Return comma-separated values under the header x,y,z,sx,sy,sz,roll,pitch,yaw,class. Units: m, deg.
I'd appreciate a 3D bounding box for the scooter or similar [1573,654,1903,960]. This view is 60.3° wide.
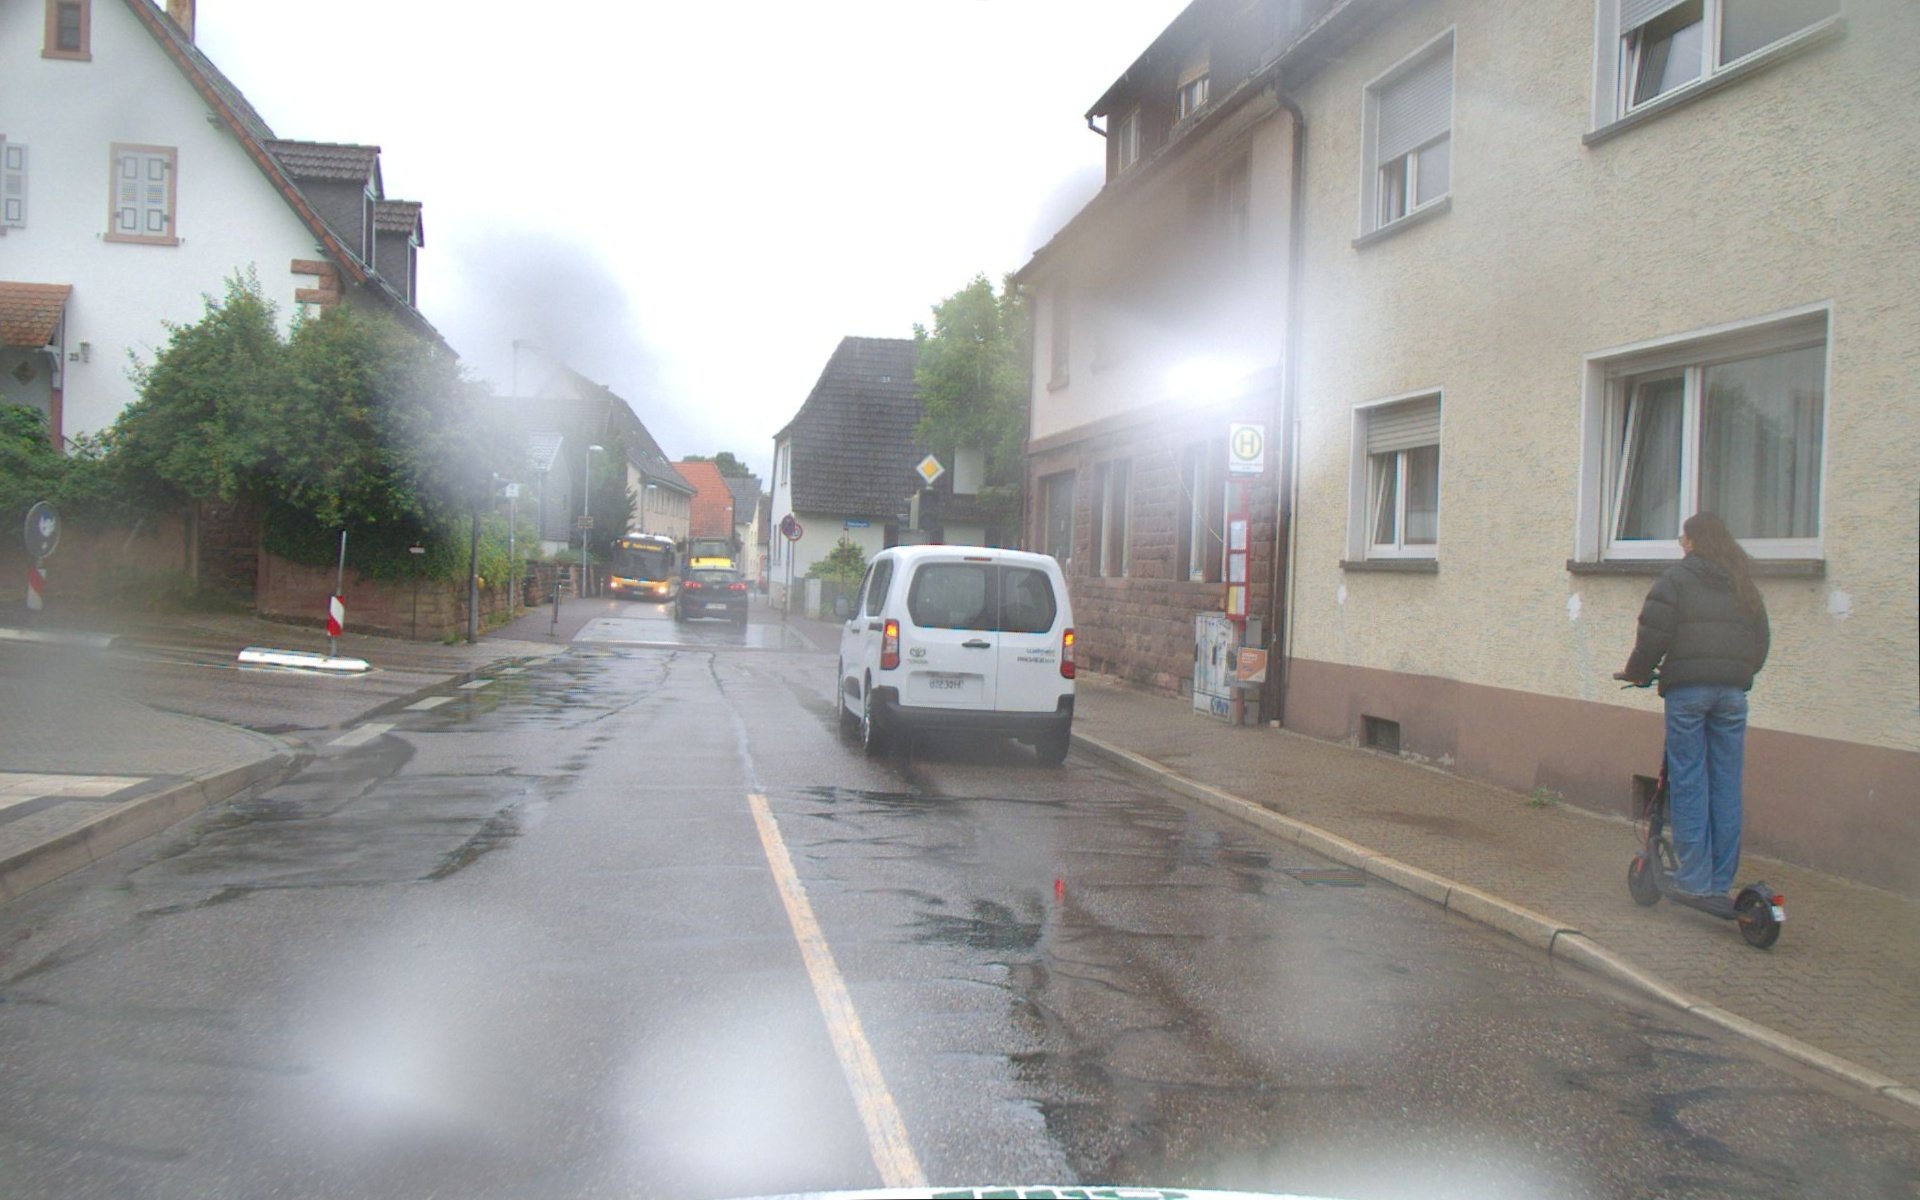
x,y,z,sx,sy,sz,roll,pitch,yaw,class
3.497,0.889,7.568,0.609,1.146,1.399,2,3,-11,scooter or similar

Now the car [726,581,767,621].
x,y,z,sx,sy,sz,roll,pitch,yaw,class
-10.890,0.054,84.631,1.859,1.982,3.996,0,0,-5,car

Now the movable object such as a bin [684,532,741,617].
x,y,z,sx,sy,sz,roll,pitch,yaw,class
-8.464,-0.885,56.459,1.695,2.699,3.966,3,0,-9,movable object such as a bin

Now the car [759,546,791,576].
x,y,z,sx,sy,sz,roll,pitch,yaw,class
-12.009,-2.518,107.487,1.814,1.825,3.997,0,0,-4,car

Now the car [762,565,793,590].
x,y,z,sx,sy,sz,roll,pitch,yaw,class
-15.074,-1.820,136.713,1.952,2.049,4.001,0,0,2,car

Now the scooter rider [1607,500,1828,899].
x,y,z,sx,sy,sz,roll,pitch,yaw,class
3.493,0.451,7.655,0.718,1.763,0.517,2,0,-11,scooter rider

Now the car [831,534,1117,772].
x,y,z,sx,sy,sz,roll,pitch,yaw,class
-0.019,0.401,15.229,1.860,1.825,3.804,3,1,-11,car

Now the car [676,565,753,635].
x,y,z,sx,sy,sz,roll,pitch,yaw,class
-6.369,-0.031,42.617,1.777,1.624,3.747,3,1,-10,car

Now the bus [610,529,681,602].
x,y,z,sx,sy,sz,roll,pitch,yaw,class
-14.848,-1.751,78.823,2.600,3.051,12.173,3,2,-8,bus
